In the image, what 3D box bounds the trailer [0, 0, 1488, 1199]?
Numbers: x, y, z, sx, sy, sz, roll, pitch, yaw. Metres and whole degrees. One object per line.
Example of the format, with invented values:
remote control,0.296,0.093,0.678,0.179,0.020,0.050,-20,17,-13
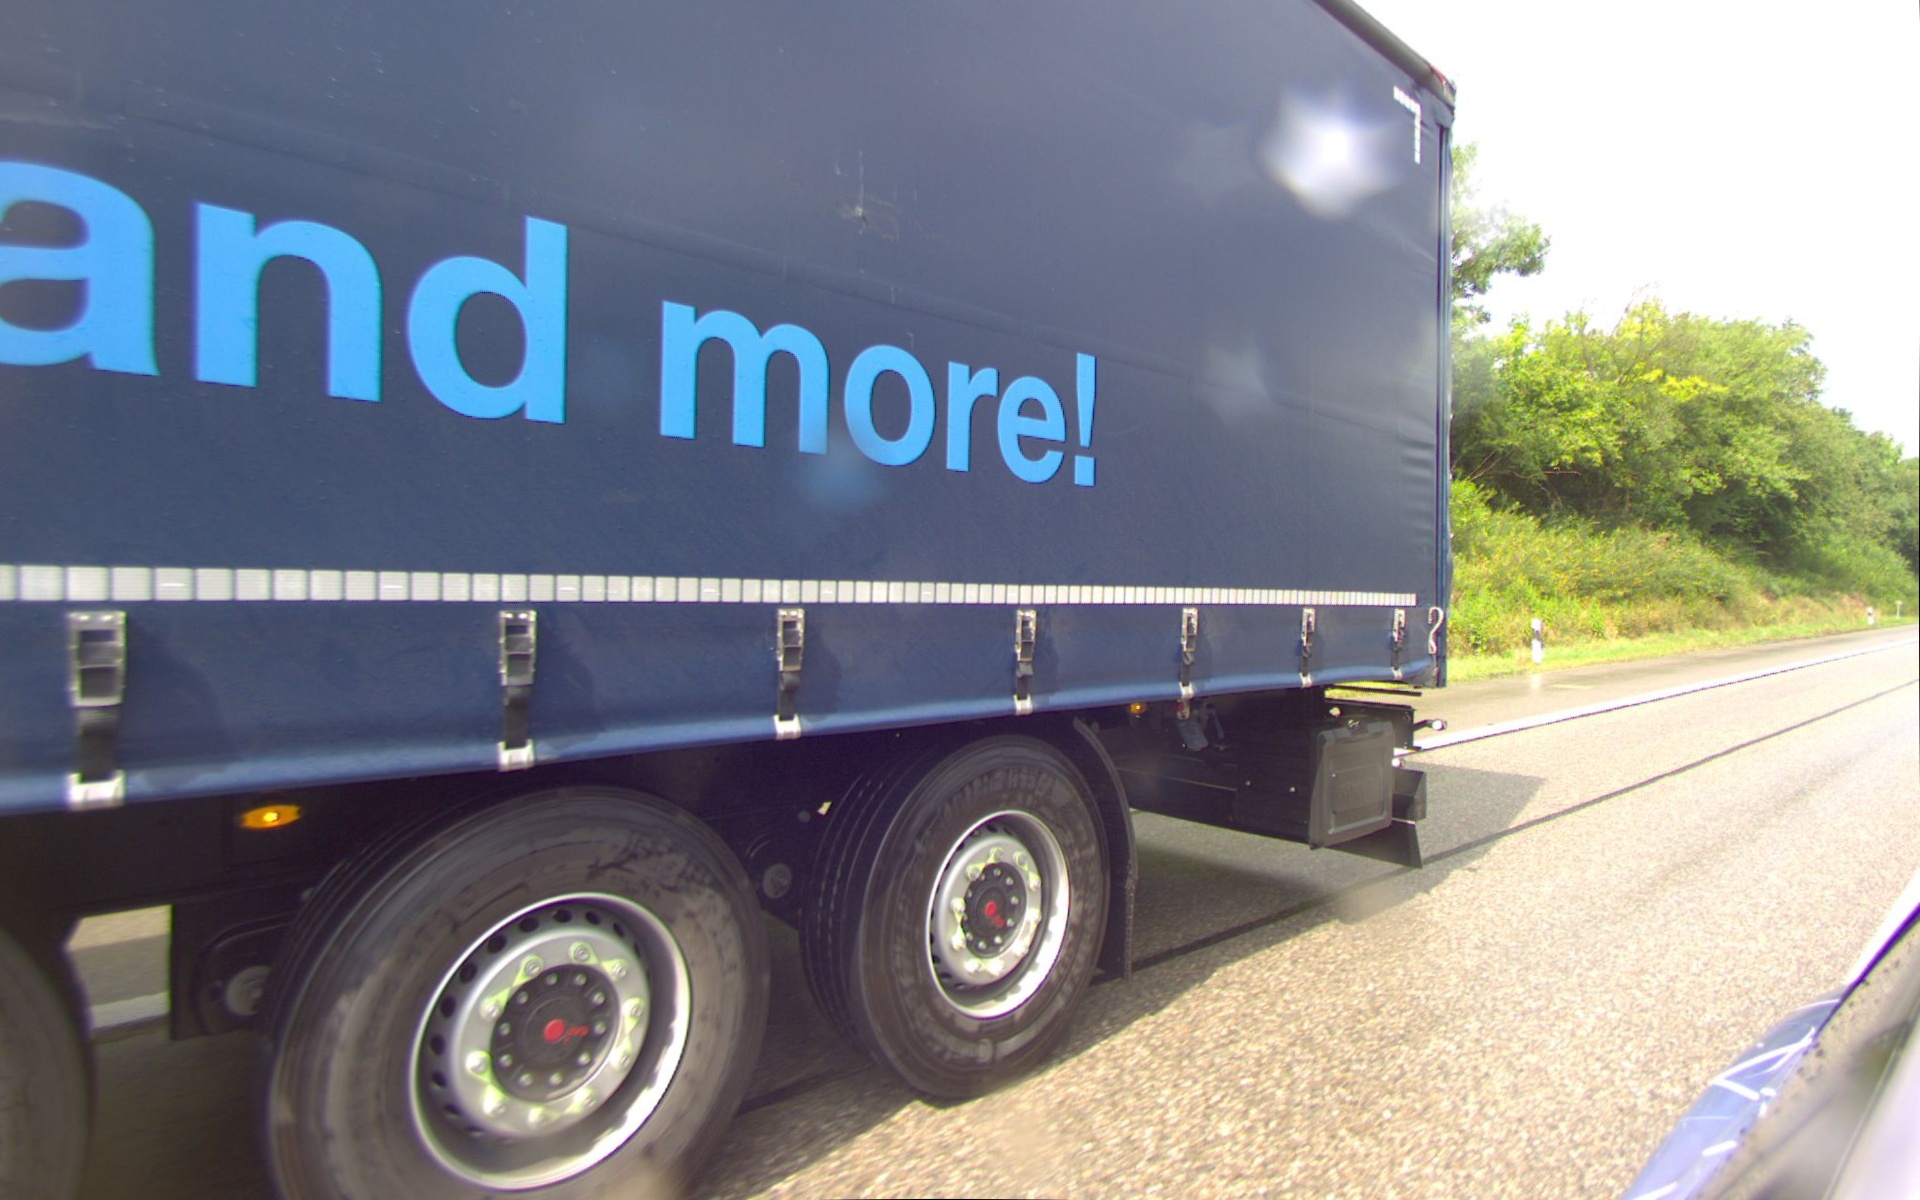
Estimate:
trailer,-3.674,-0.644,1.129,13.818,4.046,2.639,-1,0,-41
